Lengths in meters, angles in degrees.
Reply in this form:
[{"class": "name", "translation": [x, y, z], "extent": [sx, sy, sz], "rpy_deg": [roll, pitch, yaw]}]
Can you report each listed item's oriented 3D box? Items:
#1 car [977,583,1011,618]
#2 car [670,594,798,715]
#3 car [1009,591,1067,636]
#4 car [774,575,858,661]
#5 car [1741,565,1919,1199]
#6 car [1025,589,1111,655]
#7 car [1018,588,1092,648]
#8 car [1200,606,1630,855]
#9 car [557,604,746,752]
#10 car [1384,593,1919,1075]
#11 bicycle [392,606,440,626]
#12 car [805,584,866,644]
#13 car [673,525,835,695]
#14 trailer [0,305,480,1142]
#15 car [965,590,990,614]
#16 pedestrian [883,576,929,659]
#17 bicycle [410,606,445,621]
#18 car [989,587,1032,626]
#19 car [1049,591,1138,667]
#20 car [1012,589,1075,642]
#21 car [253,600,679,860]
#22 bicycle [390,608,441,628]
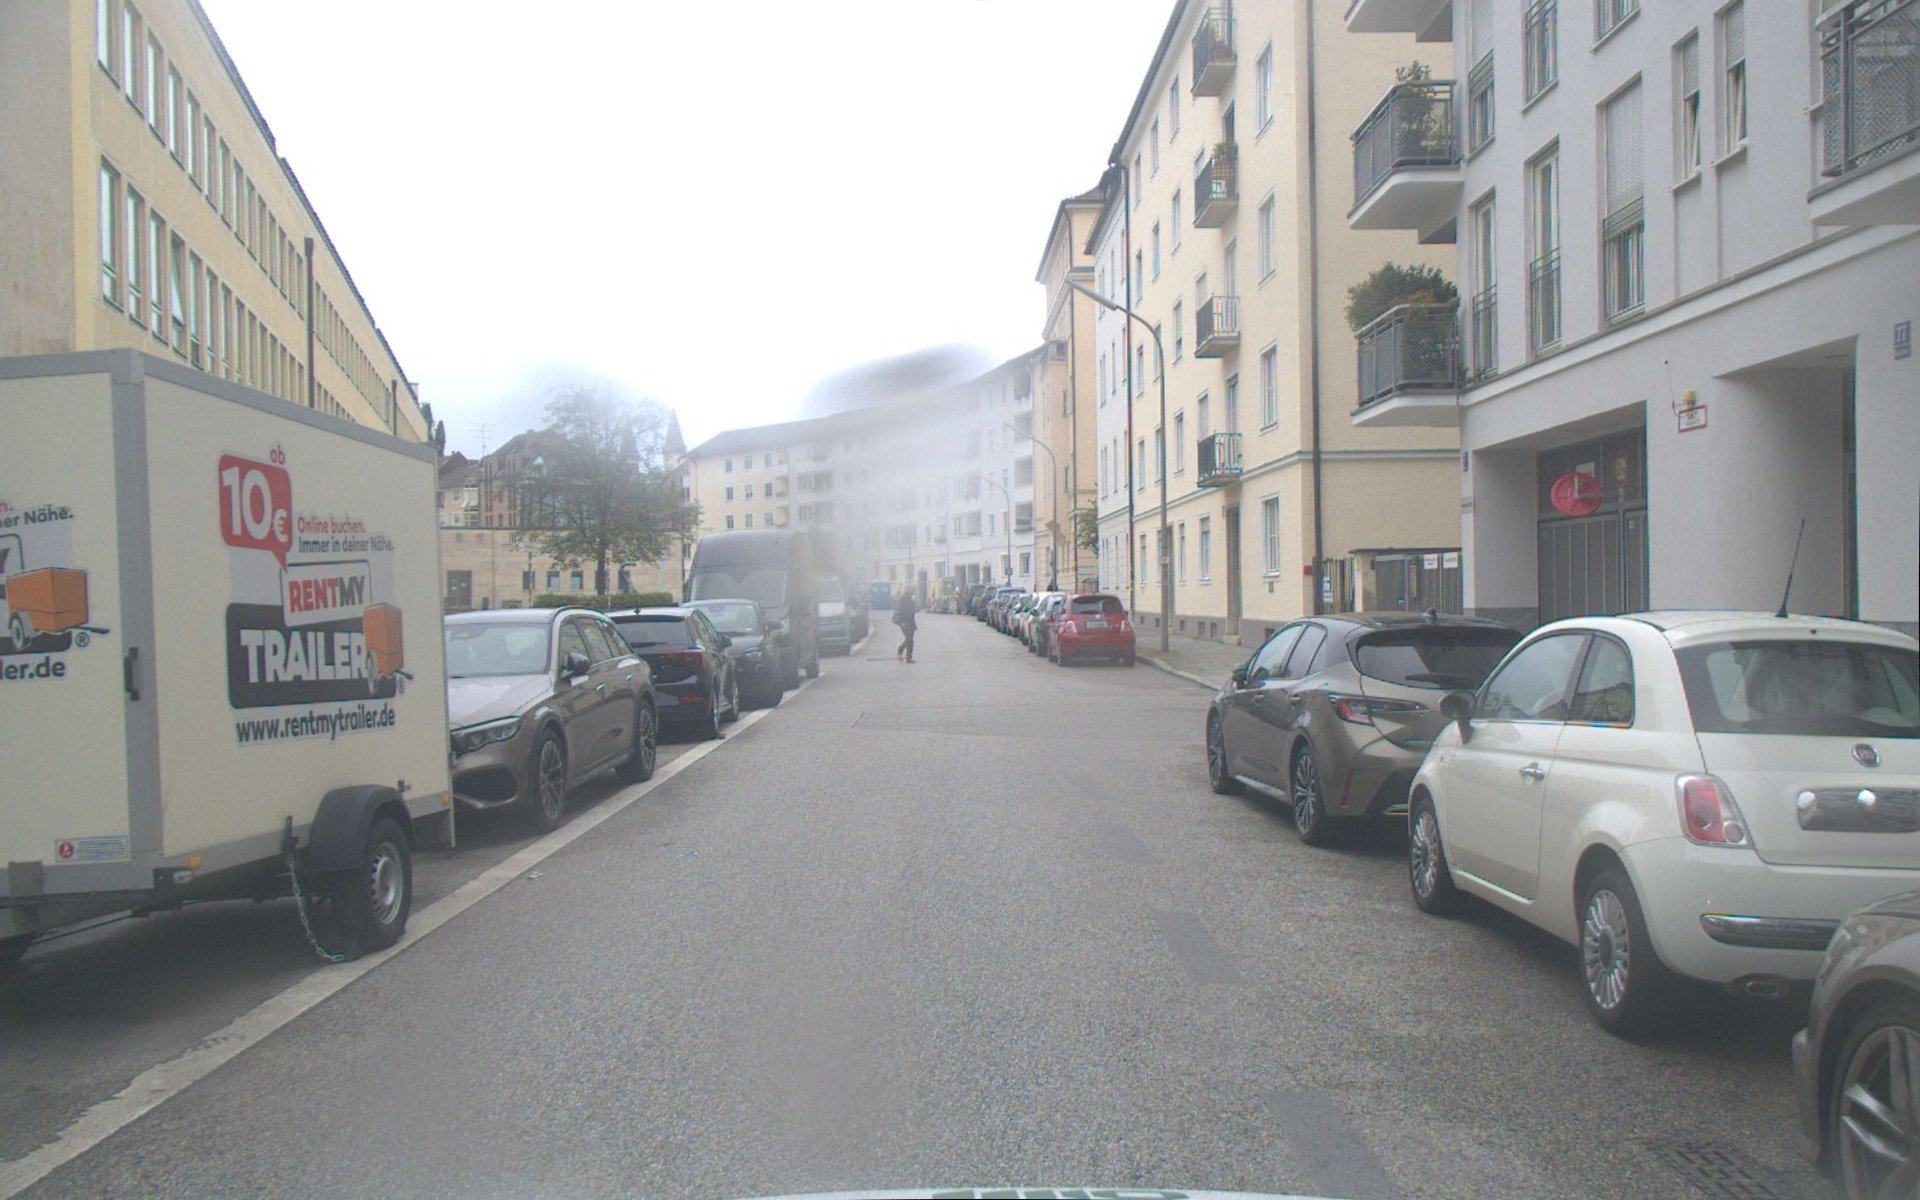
[{"class": "car", "translation": [1.639, -0.004, 80.887], "extent": [1.444, 1.669, 3.999], "rpy_deg": [0, 1, -2]}, {"class": "car", "translation": [-3.199, 0.718, 23.956], "extent": [1.554, 1.565, 3.541], "rpy_deg": [-1, 1, -4]}, {"class": "car", "translation": [2.631, 0.449, 56.581], "extent": [1.658, 1.457, 3.943], "rpy_deg": [0, 0, -2]}, {"class": "car", "translation": [-3.605, 0.400, 42.133], "extent": [1.845, 1.965, 4.599], "rpy_deg": [-3, 1, -2]}, {"class": "car", "translation": [2.910, 0.732, 1.902], "extent": [1.699, 1.557, 4.620], "rpy_deg": [1, 0, -2]}, {"class": "car", "translation": [2.624, 0.527, 40.973], "extent": [1.658, 1.517, 4.341], "rpy_deg": [-1, 0, -2]}, {"class": "car", "translation": [2.623, 0.459, 46.480], "extent": [1.658, 1.517, 4.281], "rpy_deg": [-1, 1, -2]}, {"class": "car", "translation": [2.971, 0.771, 11.739], "extent": [1.728, 1.432, 4.076], "rpy_deg": [-1, 0, -3]}, {"class": "car", "translation": [-3.495, 0.825, 19.328], "extent": [1.667, 1.471, 3.823], "rpy_deg": [0, 1, -3]}, {"class": "car", "translation": [3.062, 0.758, 7.140], "extent": [1.488, 1.557, 3.525], "rpy_deg": [1, 0, -1]}, {"class": "bicycle", "translation": [-24.939, 0.729, 75.830], "extent": [2.087, 0.849, 0.644], "rpy_deg": [-1, -1, -20]}, {"class": "car", "translation": [-3.915, 0.403, 52.449], "extent": [1.667, 1.720, 4.027], "rpy_deg": [-3, 1, -2]}, {"class": "car", "translation": [-3.497, 0.119, 29.137], "extent": [2.045, 2.682, 5.377], "rpy_deg": [-1, 1, 1]}, {"class": "trailer", "translation": [-3.639, 0.371, 6.957], "extent": [1.674, 2.504, 4.388], "rpy_deg": [-3, 0, 2]}, {"class": "car", "translation": [0.990, 0.106, 92.991], "extent": [1.246, 1.321, 2.796], "rpy_deg": [0, 0, -2]}, {"class": "pedestrian", "translation": [-1.172, 0.384, 35.849], "extent": [0.659, 1.758, 0.794], "rpy_deg": [-1, -2, 34]}, {"class": "bicycle", "translation": [-27.629, 0.695, 85.873], "extent": [1.711, 0.727, 0.611], "rpy_deg": [-1, -1, -20]}, {"class": "car", "translation": [2.121, 0.245, 70.918], "extent": [1.558, 1.610, 4.297], "rpy_deg": [0, 1, -2]}, {"class": "car", "translation": [2.835, 0.582, 35.731], "extent": [1.563, 1.535, 3.800], "rpy_deg": [-1, 0, 0]}, {"class": "car", "translation": [2.567, 0.446, 51.458], "extent": [1.567, 1.517, 3.797], "rpy_deg": [-1, 1, -3]}, {"class": "car", "translation": [-3.524, 0.825, 12.767], "extent": [1.730, 1.565, 4.542], "rpy_deg": [-3, 0, 2]}, {"class": "bicycle", "translation": [-24.729, 0.835, 75.173], "extent": [2.172, 0.849, 0.492], "rpy_deg": [-1, -1, -20]}]
